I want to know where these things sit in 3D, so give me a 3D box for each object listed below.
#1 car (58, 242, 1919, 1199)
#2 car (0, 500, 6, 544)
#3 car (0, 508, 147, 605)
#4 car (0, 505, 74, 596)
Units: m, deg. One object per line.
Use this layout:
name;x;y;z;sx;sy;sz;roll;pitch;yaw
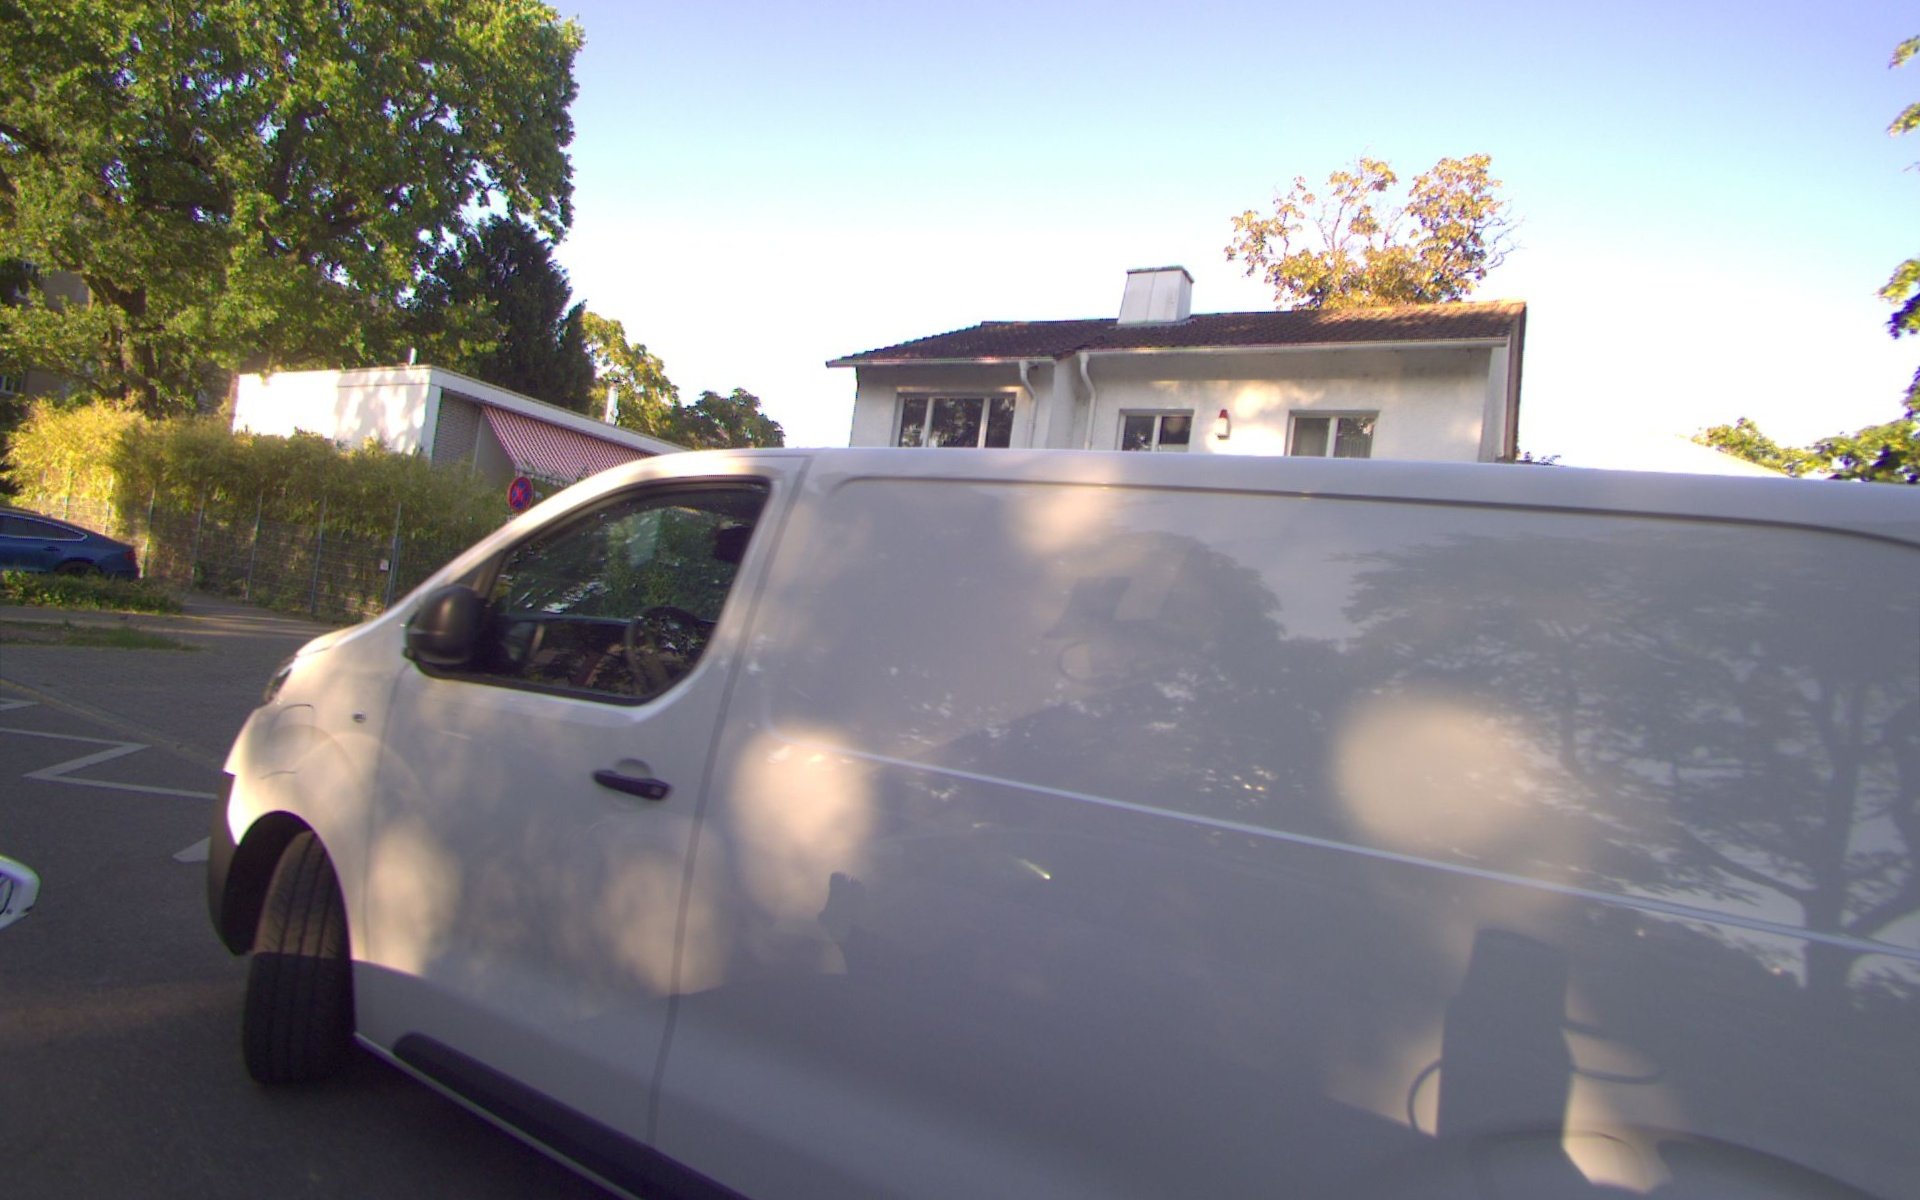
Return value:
car;-0.080;0.540;2.806;5.065;2.036;1.958;7;-2;30
car;-20.562;-1.441;18.756;1.729;1.602;3.508;7;-2;21
car;-16.513;-0.877;16.432;1.891;1.431;4.594;5;-1;32
car;-18.522;-1.117;17.857;1.760;1.541;3.693;7;-2;27
